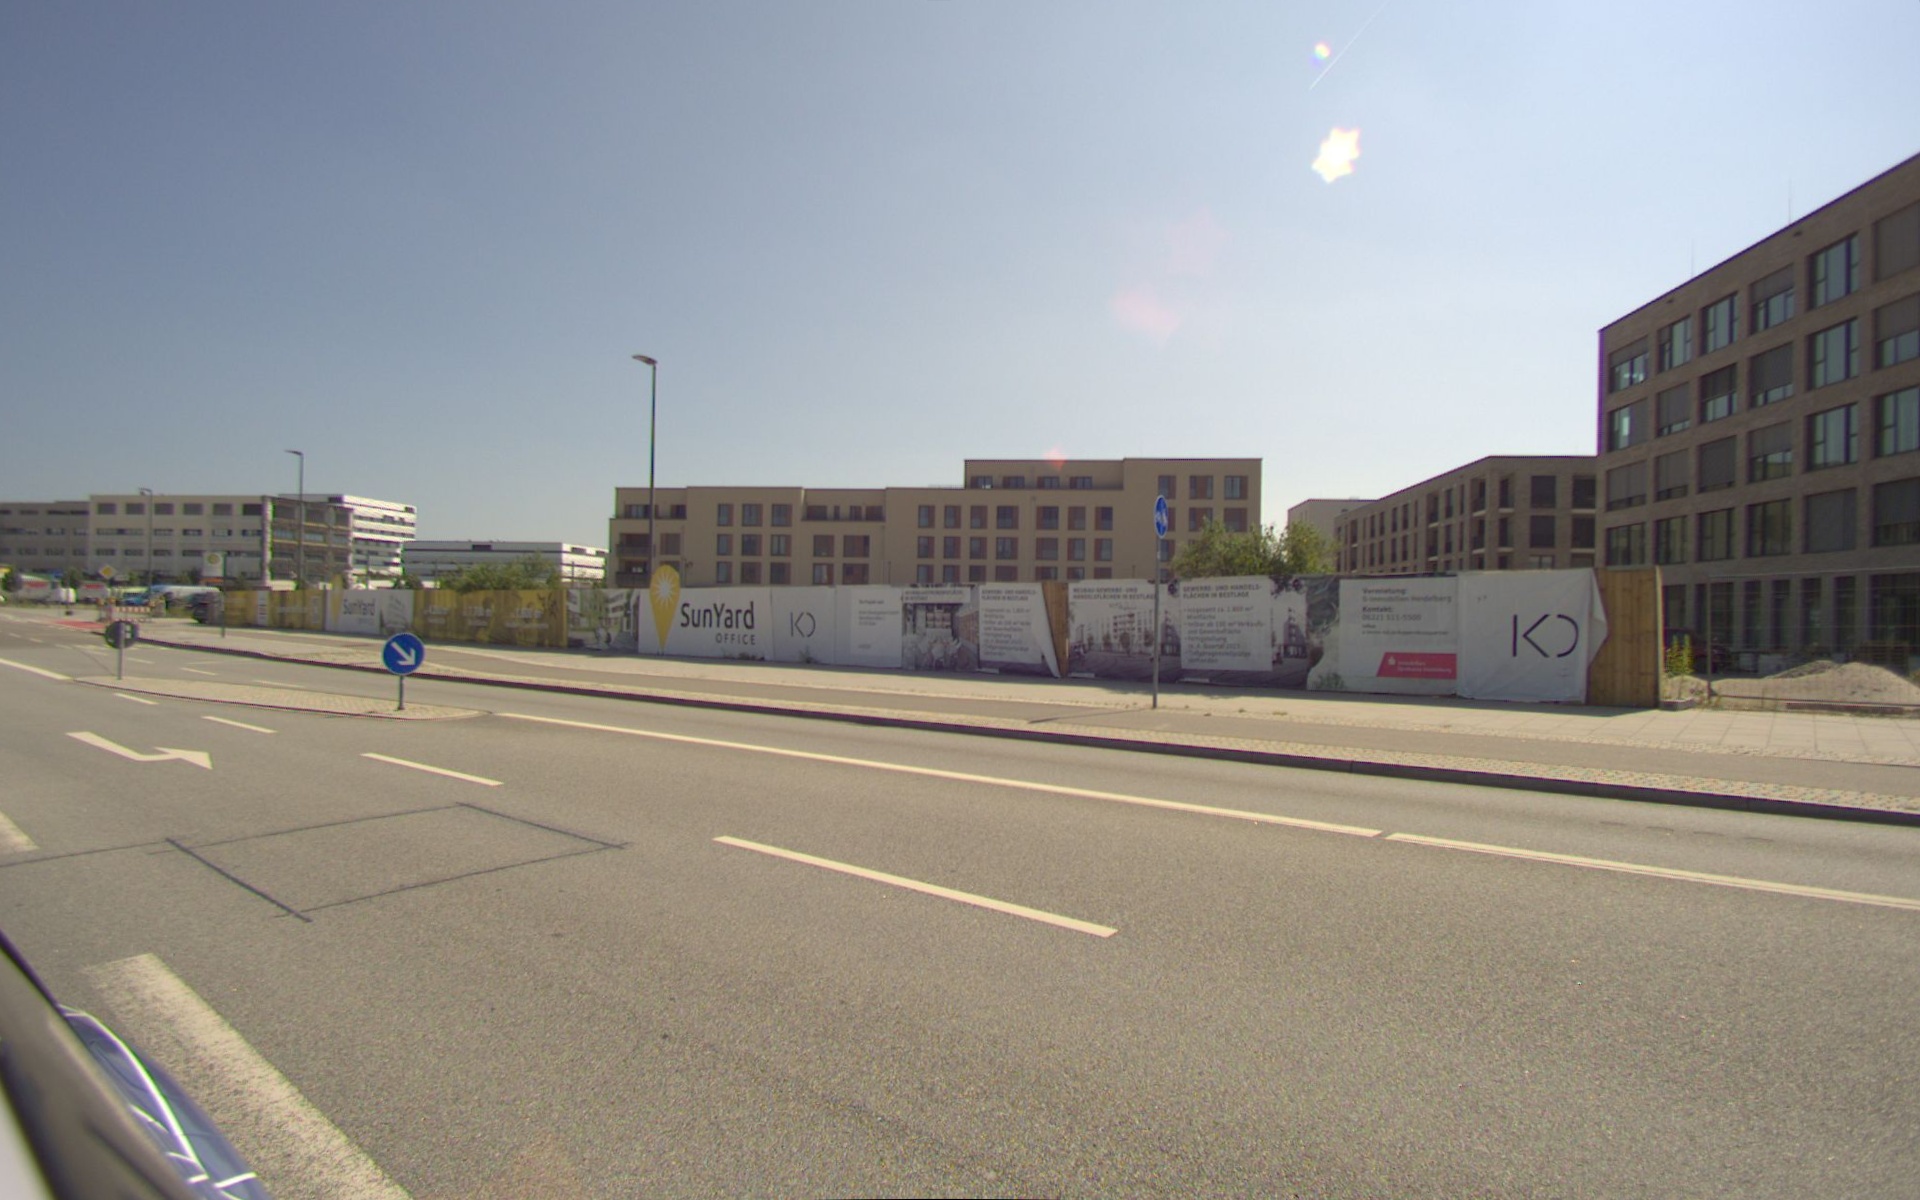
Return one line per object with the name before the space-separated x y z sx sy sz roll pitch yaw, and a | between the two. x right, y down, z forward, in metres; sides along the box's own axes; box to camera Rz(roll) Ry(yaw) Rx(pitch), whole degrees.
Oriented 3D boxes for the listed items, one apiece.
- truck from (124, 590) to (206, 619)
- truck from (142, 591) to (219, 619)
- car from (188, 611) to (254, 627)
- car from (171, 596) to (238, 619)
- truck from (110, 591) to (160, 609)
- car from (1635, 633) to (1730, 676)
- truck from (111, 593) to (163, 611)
truck | -72.530 0.358 92.415 1.996 2.494 5.567 0 1 36
truck | -67.181 0.398 87.277 1.998 2.245 4.942 0 1 39
car | -48.498 1.215 66.407 1.293 0.960 3.315 0 1 43
car | -60.326 0.577 80.849 1.888 1.731 3.885 0 1 35
truck | -120.251 -0.040 147.547 1.998 2.494 5.346 0 1 38
car | 32.005 2.373 44.976 1.814 1.666 3.772 0 0 7
truck | -114.921 0.259 141.379 1.996 2.494 5.270 0 1 36
